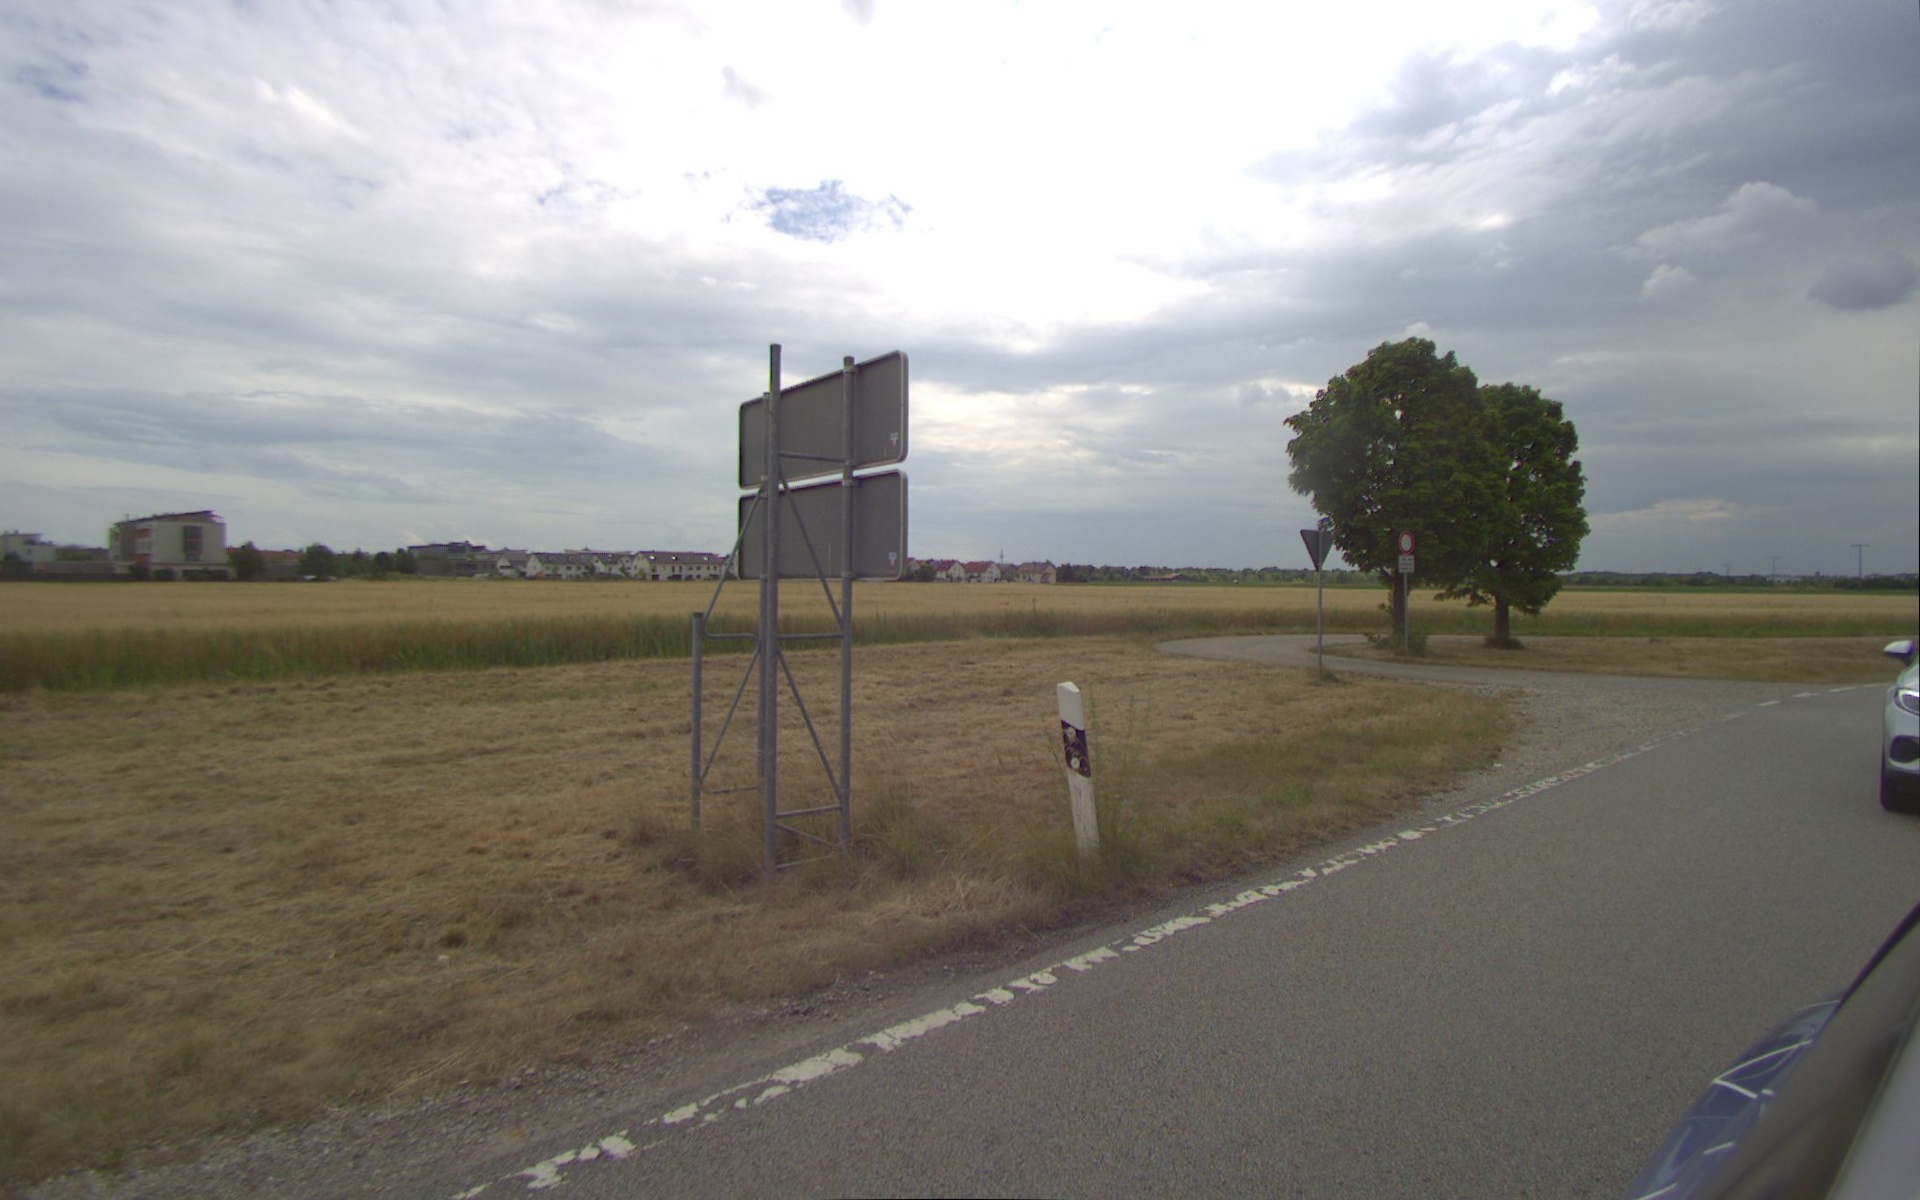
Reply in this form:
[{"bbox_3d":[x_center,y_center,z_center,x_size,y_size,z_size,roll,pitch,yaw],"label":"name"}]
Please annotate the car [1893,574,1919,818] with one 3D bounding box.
[{"bbox_3d":[8.481,0.667,7.569,4.374,1.606,1.834,0,2,-43],"label":"car"}]
